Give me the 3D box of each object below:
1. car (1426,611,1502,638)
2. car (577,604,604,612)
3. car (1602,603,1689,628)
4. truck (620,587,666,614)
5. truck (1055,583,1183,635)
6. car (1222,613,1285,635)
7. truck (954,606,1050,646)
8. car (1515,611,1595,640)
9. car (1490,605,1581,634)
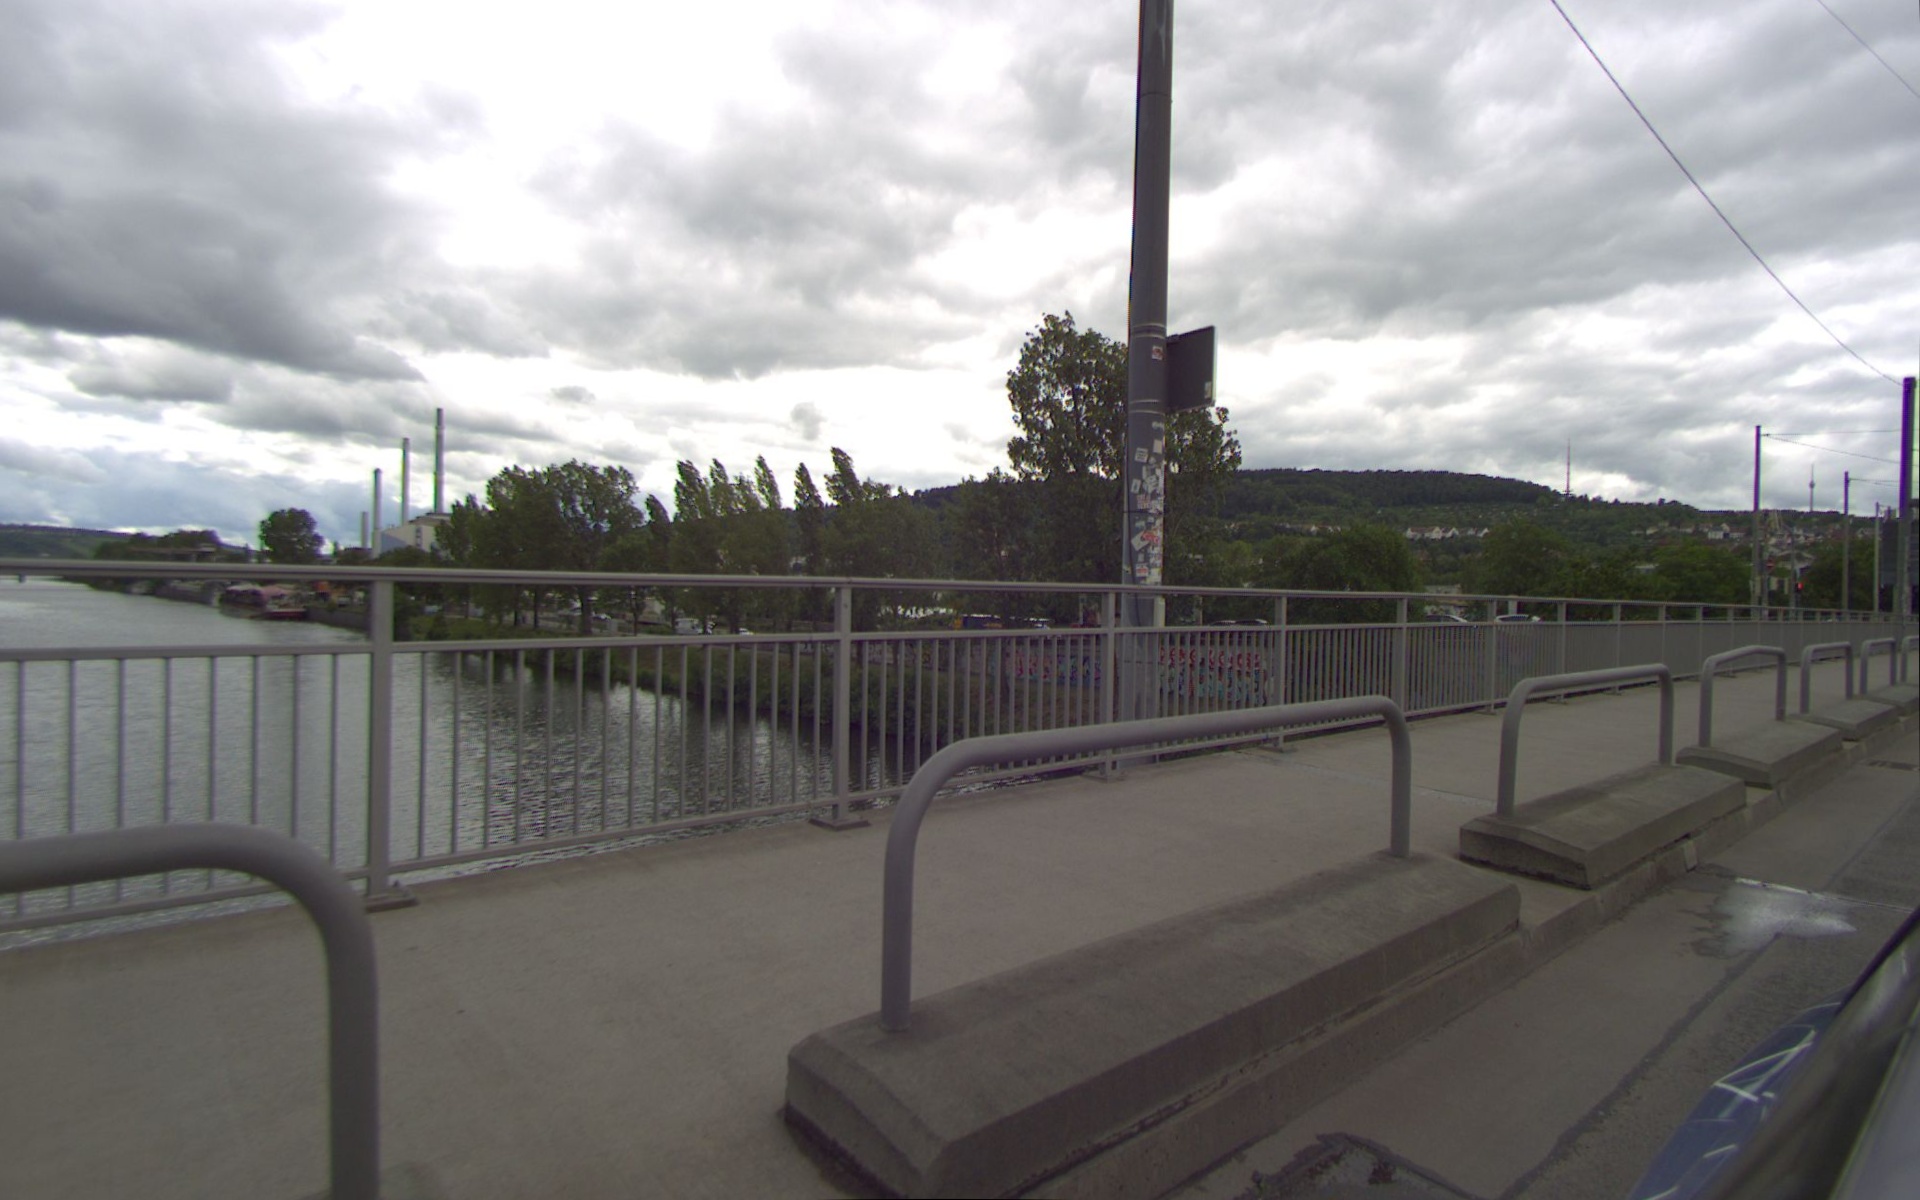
[{"bbox_3d":[30.579,1.483,61.456,1.667,1.559,3.752,0,-1,-42],"label":"car"},{"bbox_3d":[-70.866,1.542,193.921,5.994,1.559,2.658,-1,-1,45],"label":"car"},{"bbox_3d":[38.657,0.852,57.137,1.760,1.330,3.757,-1,0,-42],"label":"car"},{"bbox_3d":[-64.022,-0.017,203.995,3.526,4.540,13.163,1,3,-42],"label":"truck"},{"bbox_3d":[12.568,0.667,80.904,3.173,3.928,10.403,1,-1,-43],"label":"truck"},{"bbox_3d":[20.815,1.685,71.985,1.667,1.559,4.039,0,-1,-42],"label":"car"},{"bbox_3d":[5.249,3.307,131.876,3.322,3.964,14.413,1,3,-41],"label":"truck"},{"bbox_3d":[33.945,1.421,57.811,1.667,1.559,3.616,0,-1,-42],"label":"car"},{"bbox_3d":[34.704,1.135,61.124,1.965,1.640,4.335,-1,0,-41],"label":"car"}]
